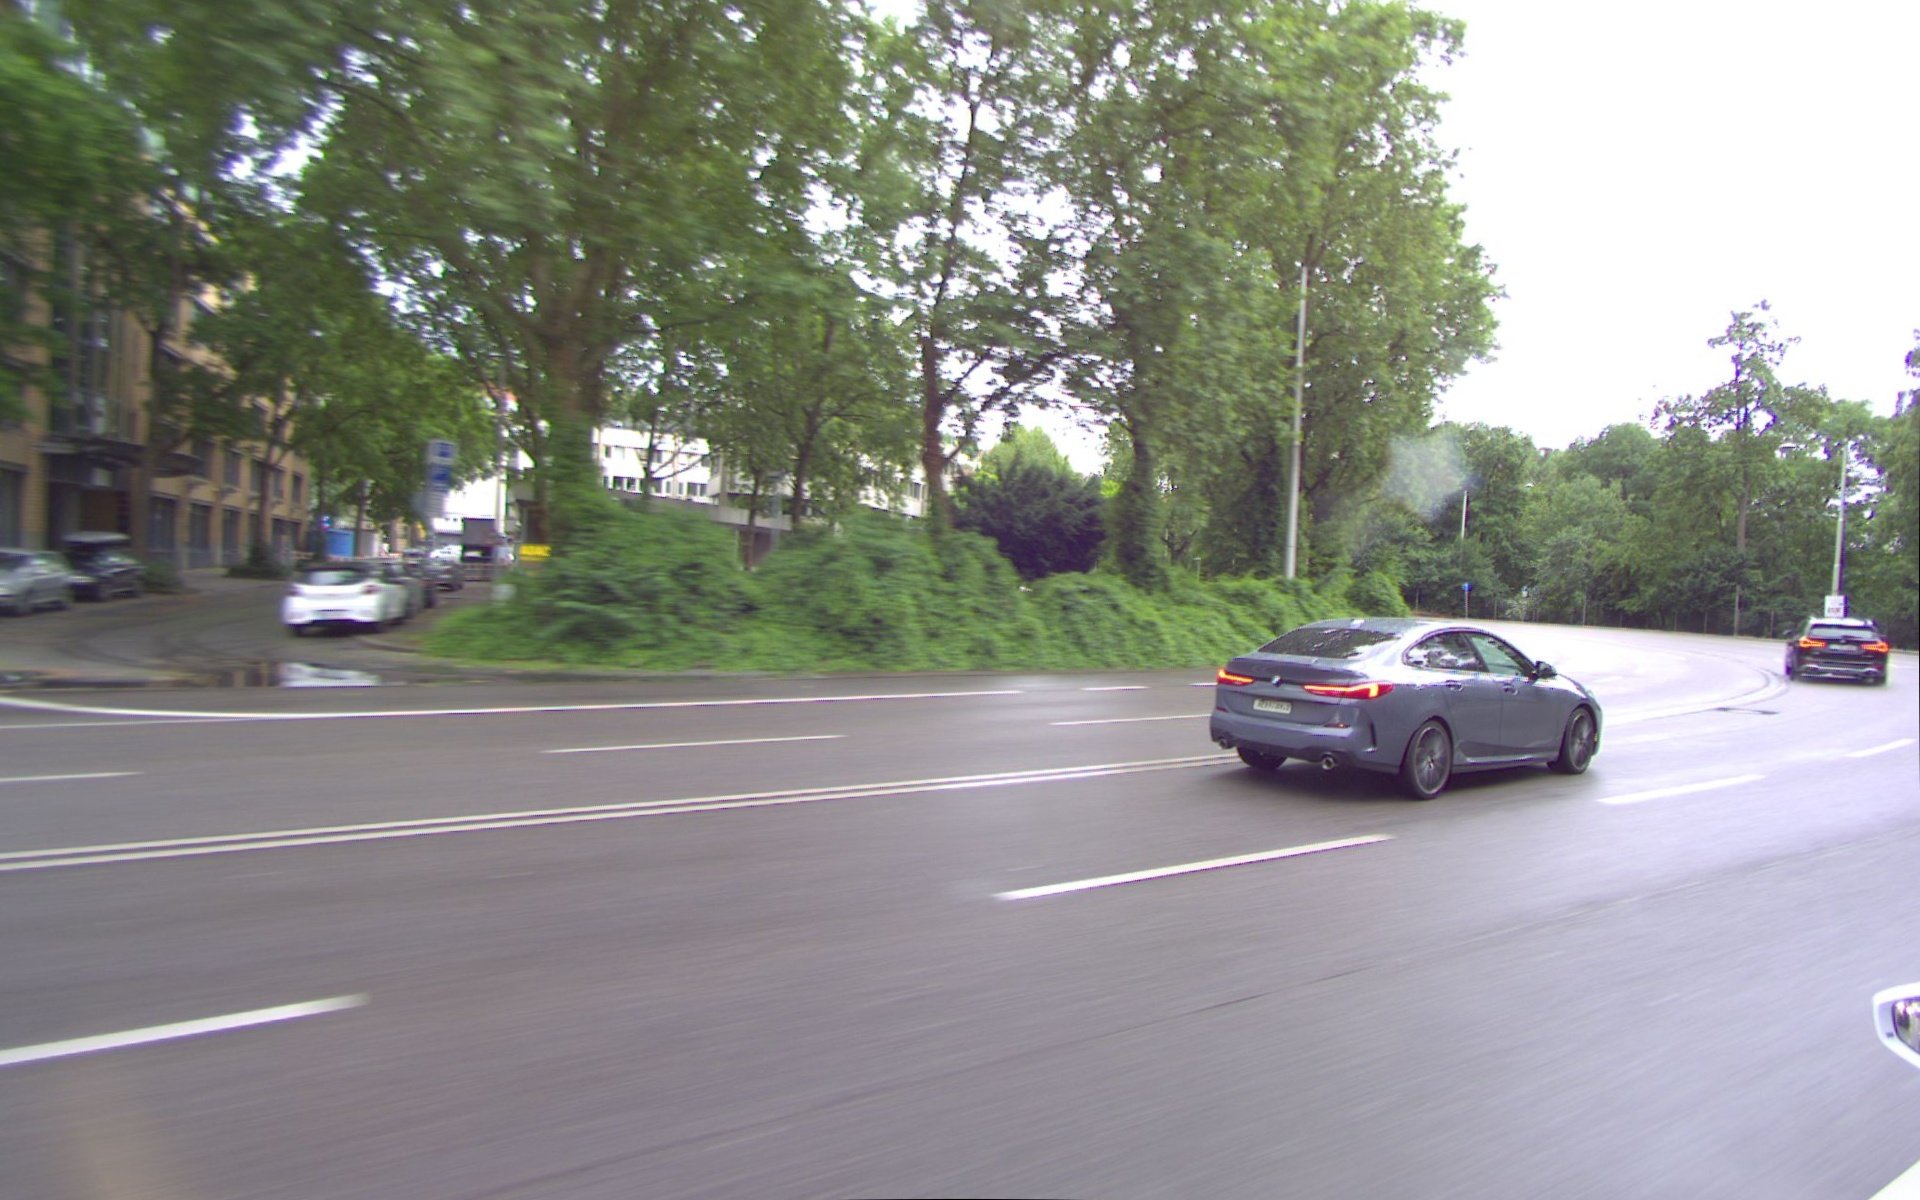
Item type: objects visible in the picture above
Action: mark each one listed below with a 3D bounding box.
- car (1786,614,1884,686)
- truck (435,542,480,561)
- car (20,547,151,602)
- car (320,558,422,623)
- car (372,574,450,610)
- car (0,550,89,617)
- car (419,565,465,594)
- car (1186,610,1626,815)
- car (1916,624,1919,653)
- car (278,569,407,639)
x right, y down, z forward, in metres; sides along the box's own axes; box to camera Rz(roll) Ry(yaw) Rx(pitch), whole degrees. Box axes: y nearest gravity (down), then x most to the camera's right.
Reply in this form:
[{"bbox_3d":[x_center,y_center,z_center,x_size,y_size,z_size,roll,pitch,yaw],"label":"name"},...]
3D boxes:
[{"bbox_3d":[23.109,1.240,26.526,1.738,1.607,4.388,4,3,42],"label":"car"},{"bbox_3d":[-61.253,-5.871,122.487,4.761,2.041,1.985,1,2,-29],"label":"truck"},{"bbox_3d":[-24.394,-0.741,28.184,1.671,1.380,3.975,2,2,-25],"label":"car"},{"bbox_3d":[-15.110,-0.249,25.954,1.753,1.532,3.804,0,1,-22],"label":"car"},{"bbox_3d":[-16.884,-0.271,31.025,1.753,1.039,3.486,0,1,-23],"label":"car"},{"bbox_3d":[-21.759,-0.434,22.989,1.671,1.380,3.975,2,2,-25],"label":"car"},{"bbox_3d":[-22.734,-0.902,44.149,1.475,1.223,3.486,0,1,-22],"label":"car"},{"bbox_3d":[4.279,0.872,9.340,4.495,1.434,1.654,1,1,-36],"label":"car"},{"bbox_3d":[48.093,2.021,47.776,1.659,1.445,4.373,6,2,12],"label":"car"},{"bbox_3d":[-13.470,0.054,22.121,1.752,1.394,3.489,0,1,-20],"label":"car"}]
